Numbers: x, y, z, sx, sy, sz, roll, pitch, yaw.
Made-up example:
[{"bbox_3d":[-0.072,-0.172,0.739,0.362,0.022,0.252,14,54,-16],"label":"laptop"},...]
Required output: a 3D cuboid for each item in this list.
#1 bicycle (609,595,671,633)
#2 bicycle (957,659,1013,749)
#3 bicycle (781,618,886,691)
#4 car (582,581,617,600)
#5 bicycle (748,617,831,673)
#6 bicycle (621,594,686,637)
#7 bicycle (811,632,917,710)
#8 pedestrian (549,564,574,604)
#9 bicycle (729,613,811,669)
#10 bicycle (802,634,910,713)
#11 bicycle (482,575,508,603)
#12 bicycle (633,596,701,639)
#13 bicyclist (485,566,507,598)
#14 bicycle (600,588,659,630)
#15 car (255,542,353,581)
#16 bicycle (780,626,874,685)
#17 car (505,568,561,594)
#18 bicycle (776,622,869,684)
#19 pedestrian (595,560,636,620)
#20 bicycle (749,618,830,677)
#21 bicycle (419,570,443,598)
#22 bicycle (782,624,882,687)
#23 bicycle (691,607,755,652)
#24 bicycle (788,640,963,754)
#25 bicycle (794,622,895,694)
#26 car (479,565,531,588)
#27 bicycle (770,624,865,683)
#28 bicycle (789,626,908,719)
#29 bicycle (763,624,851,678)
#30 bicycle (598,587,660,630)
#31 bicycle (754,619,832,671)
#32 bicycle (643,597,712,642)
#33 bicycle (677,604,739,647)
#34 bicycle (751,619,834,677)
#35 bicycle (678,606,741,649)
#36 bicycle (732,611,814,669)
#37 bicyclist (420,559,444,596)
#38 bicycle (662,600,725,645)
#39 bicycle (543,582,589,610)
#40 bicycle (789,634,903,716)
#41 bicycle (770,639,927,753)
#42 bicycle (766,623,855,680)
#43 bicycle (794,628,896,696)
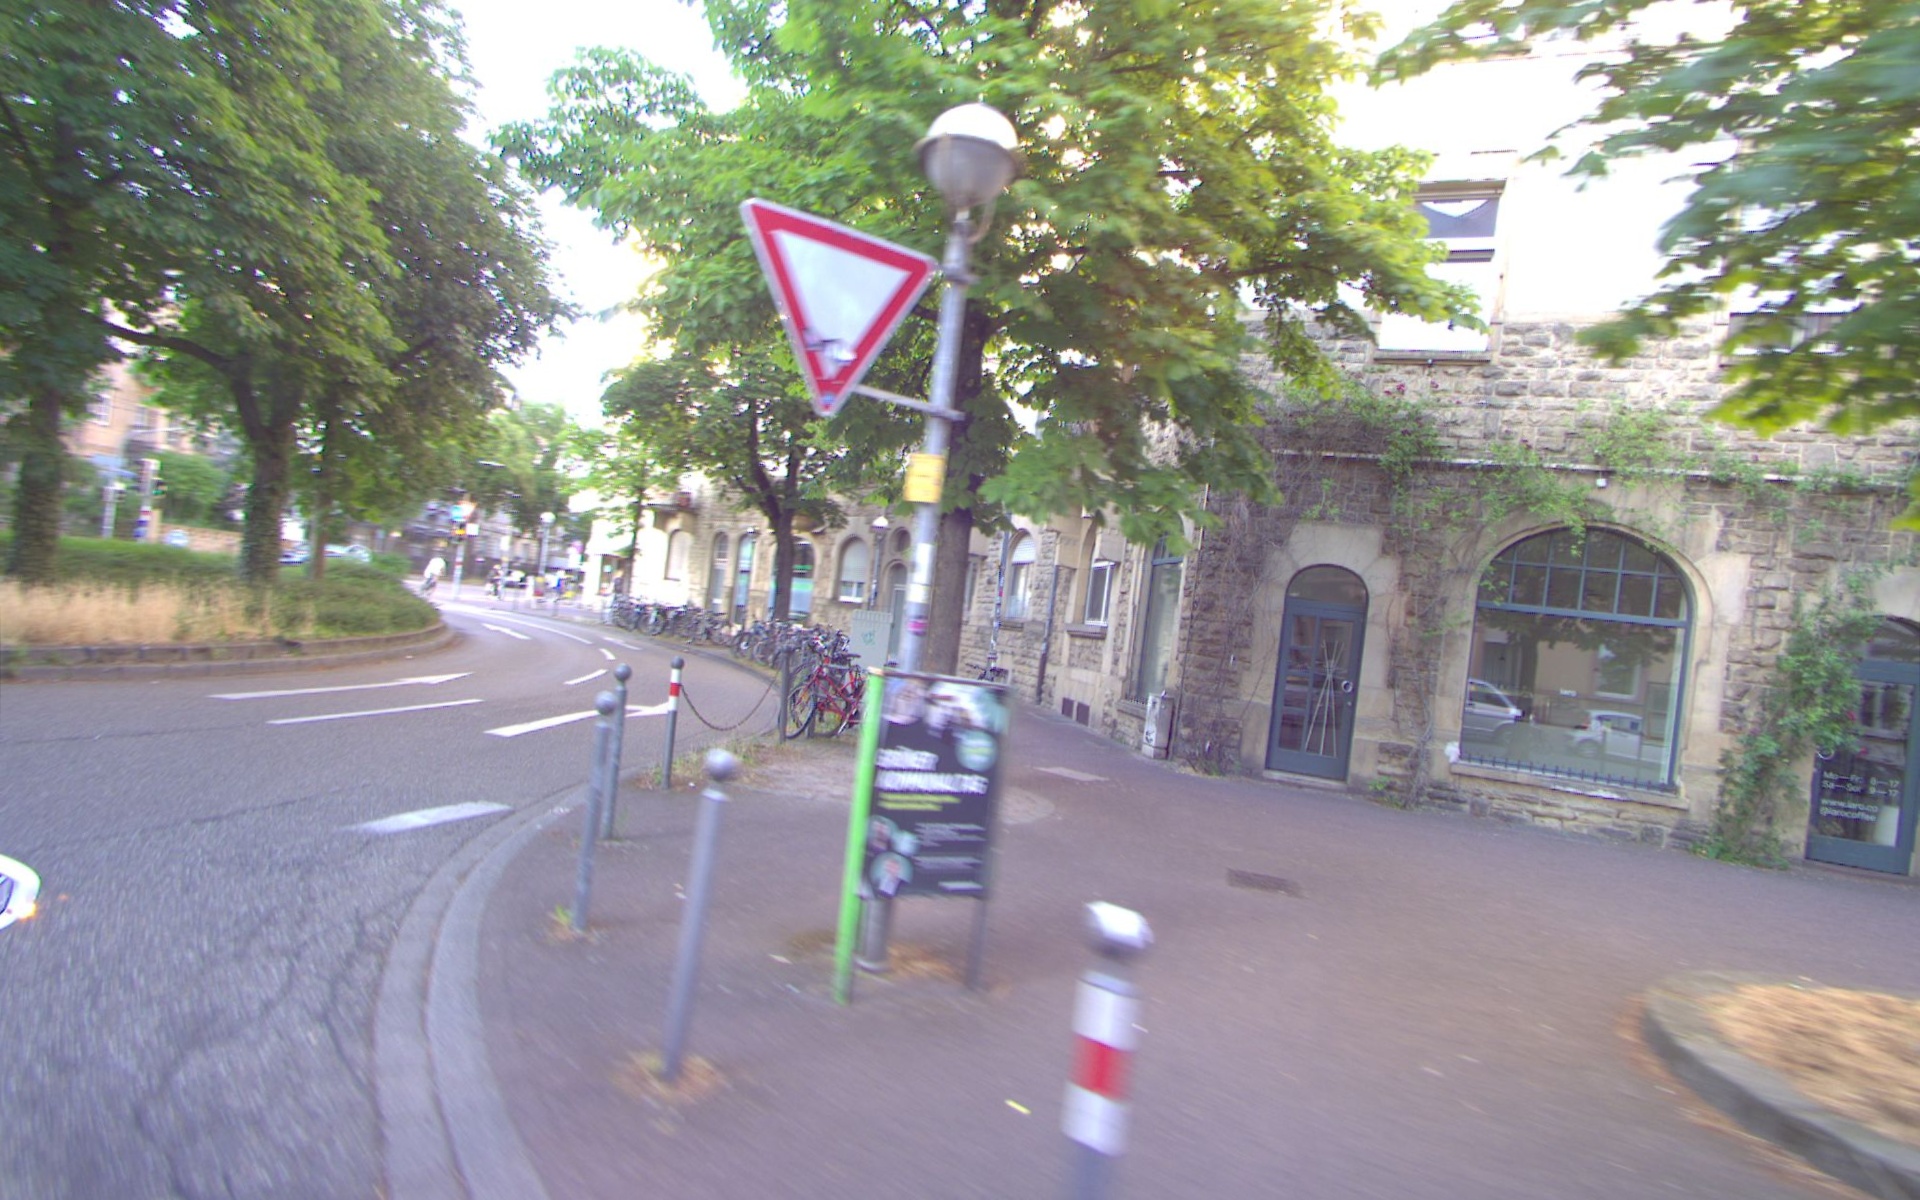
[{"bbox_3d":[-10.723,0.486,33.751,0.690,1.050,1.799,6,-1,40],"label":"bicycle"},{"bbox_3d":[0.298,1.318,13.120,0.424,0.980,1.726,7,-1,-5],"label":"bicycle"},{"bbox_3d":[-2.526,1.091,20.102,1.895,1.214,0.550,7,0,-21],"label":"bicycle"},{"bbox_3d":[-36.289,-0.932,101.343,1.915,1.499,4.321,7,-1,-2],"label":"car"},{"bbox_3d":[-4.112,1.094,24.325,1.831,1.158,0.417,7,0,-23],"label":"bicycle"},{"bbox_3d":[-9.930,0.509,32.670,0.631,1.176,1.884,6,-1,40],"label":"bicycle"},{"bbox_3d":[-1.589,1.174,16.613,1.583,1.089,0.418,7,0,-15],"label":"bicycle"},{"bbox_3d":[-19.007,-0.764,47.995,0.860,1.816,0.918,7,0,-27],"label":"pedestrian"},{"bbox_3d":[-4.812,1.049,25.574,1.870,1.154,0.487,9,2,-36],"label":"bicycle"},{"bbox_3d":[-1.675,1.177,16.199,1.583,1.076,0.418,7,0,-15],"label":"bicycle"},{"bbox_3d":[-22.659,-0.519,49.092,0.689,1.251,1.858,7,-1,-14],"label":"bicycle"},{"bbox_3d":[-9.362,0.566,32.196,1.877,1.176,0.634,8,-1,-39],"label":"bicycle"},{"bbox_3d":[-22.623,-0.855,49.084,0.689,1.479,0.782,7,0,-14],"label":"bicyclist"},{"bbox_3d":[-11.649,0.322,35.495,0.641,1.251,1.786,6,-1,39],"label":"bicycle"},{"bbox_3d":[-34.584,-2.001,53.163,1.913,1.527,4.423,7,-1,5],"label":"car"},{"bbox_3d":[-2.817,1.175,21.362,1.828,1.026,0.417,7,0,-19],"label":"bicycle"},{"bbox_3d":[-32.811,-1.460,77.402,1.913,1.527,4.636,7,-1,5],"label":"car"},{"bbox_3d":[-2.951,1.145,21.656,1.828,1.130,0.417,7,0,-19],"label":"bicycle"},{"bbox_3d":[-13.180,-0.384,38.481,1.005,2.112,1.050,6,1,-37],"label":"pedestrian"},{"bbox_3d":[-4.041,1.135,23.921,1.831,1.133,0.420,8,-19,-23],"label":"bicycle"},{"bbox_3d":[-22.182,-0.678,42.213,0.691,1.067,1.782,7,-1,-25],"label":"bicycle"},{"bbox_3d":[-2.648,1.159,20.838,1.895,1.077,0.550,7,-1,-21],"label":"bicycle"},{"bbox_3d":[-6.851,0.862,29.150,1.663,1.091,0.481,8,-1,-41],"label":"bicycle"},{"bbox_3d":[-0.954,1.100,11.574,1.864,1.052,0.432,7,0,1],"label":"bicycle"},{"bbox_3d":[-2.226,1.117,19.434,1.771,1.182,0.446,7,0,-19],"label":"bicycle"},{"bbox_3d":[-37.039,-1.884,81.979,1.973,1.443,4.634,7,-1,0],"label":"car"},{"bbox_3d":[-3.135,1.179,22.167,1.895,1.074,0.533,7,-1,-22],"label":"bicycle"},{"bbox_3d":[-1.649,1.066,14.831,1.581,1.162,0.554,7,0,-11],"label":"bicycle"},{"bbox_3d":[-3.472,1.154,22.864,1.831,1.011,0.417,7,0,-23],"label":"bicycle"},{"bbox_3d":[-11.292,0.308,34.375,0.690,1.251,1.785,6,-1,40],"label":"bicycle"},{"bbox_3d":[-4.117,1.125,24.889,0.566,1.117,1.846,6,-1,44],"label":"bicycle"},{"bbox_3d":[-8.876,0.613,31.622,1.877,1.176,0.697,8,-1,-39],"label":"bicycle"},{"bbox_3d":[-7.625,0.783,30.476,1.659,1.091,0.482,8,-1,-33],"label":"bicycle"},{"bbox_3d":[-3.929,1.146,23.671,1.831,1.095,0.420,8,-19,-23],"label":"bicycle"},{"bbox_3d":[-7.311,0.808,29.425,1.663,1.091,0.481,8,-1,-41],"label":"bicycle"},{"bbox_3d":[-4.661,1.006,25.163,1.860,1.228,0.490,7,-6,-23],"label":"bicycle"},{"bbox_3d":[-22.136,-0.937,42.175,0.691,1.428,0.859,7,0,-25],"label":"bicyclist"},{"bbox_3d":[-8.080,0.695,30.524,1.658,1.143,0.481,8,5,-32],"label":"bicycle"},{"bbox_3d":[-19.300,-0.204,49.315,1.861,1.143,0.725,8,-1,-35],"label":"bicycle"},{"bbox_3d":[-1.741,1.139,15.265,1.581,1.033,0.554,7,0,-11],"label":"bicycle"},{"bbox_3d":[-1.227,1.055,11.207,1.578,1.052,0.432,7,0,1],"label":"bicycle"},{"bbox_3d":[-3.359,1.170,22.597,1.831,1.064,0.417,7,0,-23],"label":"bicycle"},{"bbox_3d":[-2.175,1.171,19.027,1.771,1.076,0.446,7,0,-19],"label":"bicycle"}]
